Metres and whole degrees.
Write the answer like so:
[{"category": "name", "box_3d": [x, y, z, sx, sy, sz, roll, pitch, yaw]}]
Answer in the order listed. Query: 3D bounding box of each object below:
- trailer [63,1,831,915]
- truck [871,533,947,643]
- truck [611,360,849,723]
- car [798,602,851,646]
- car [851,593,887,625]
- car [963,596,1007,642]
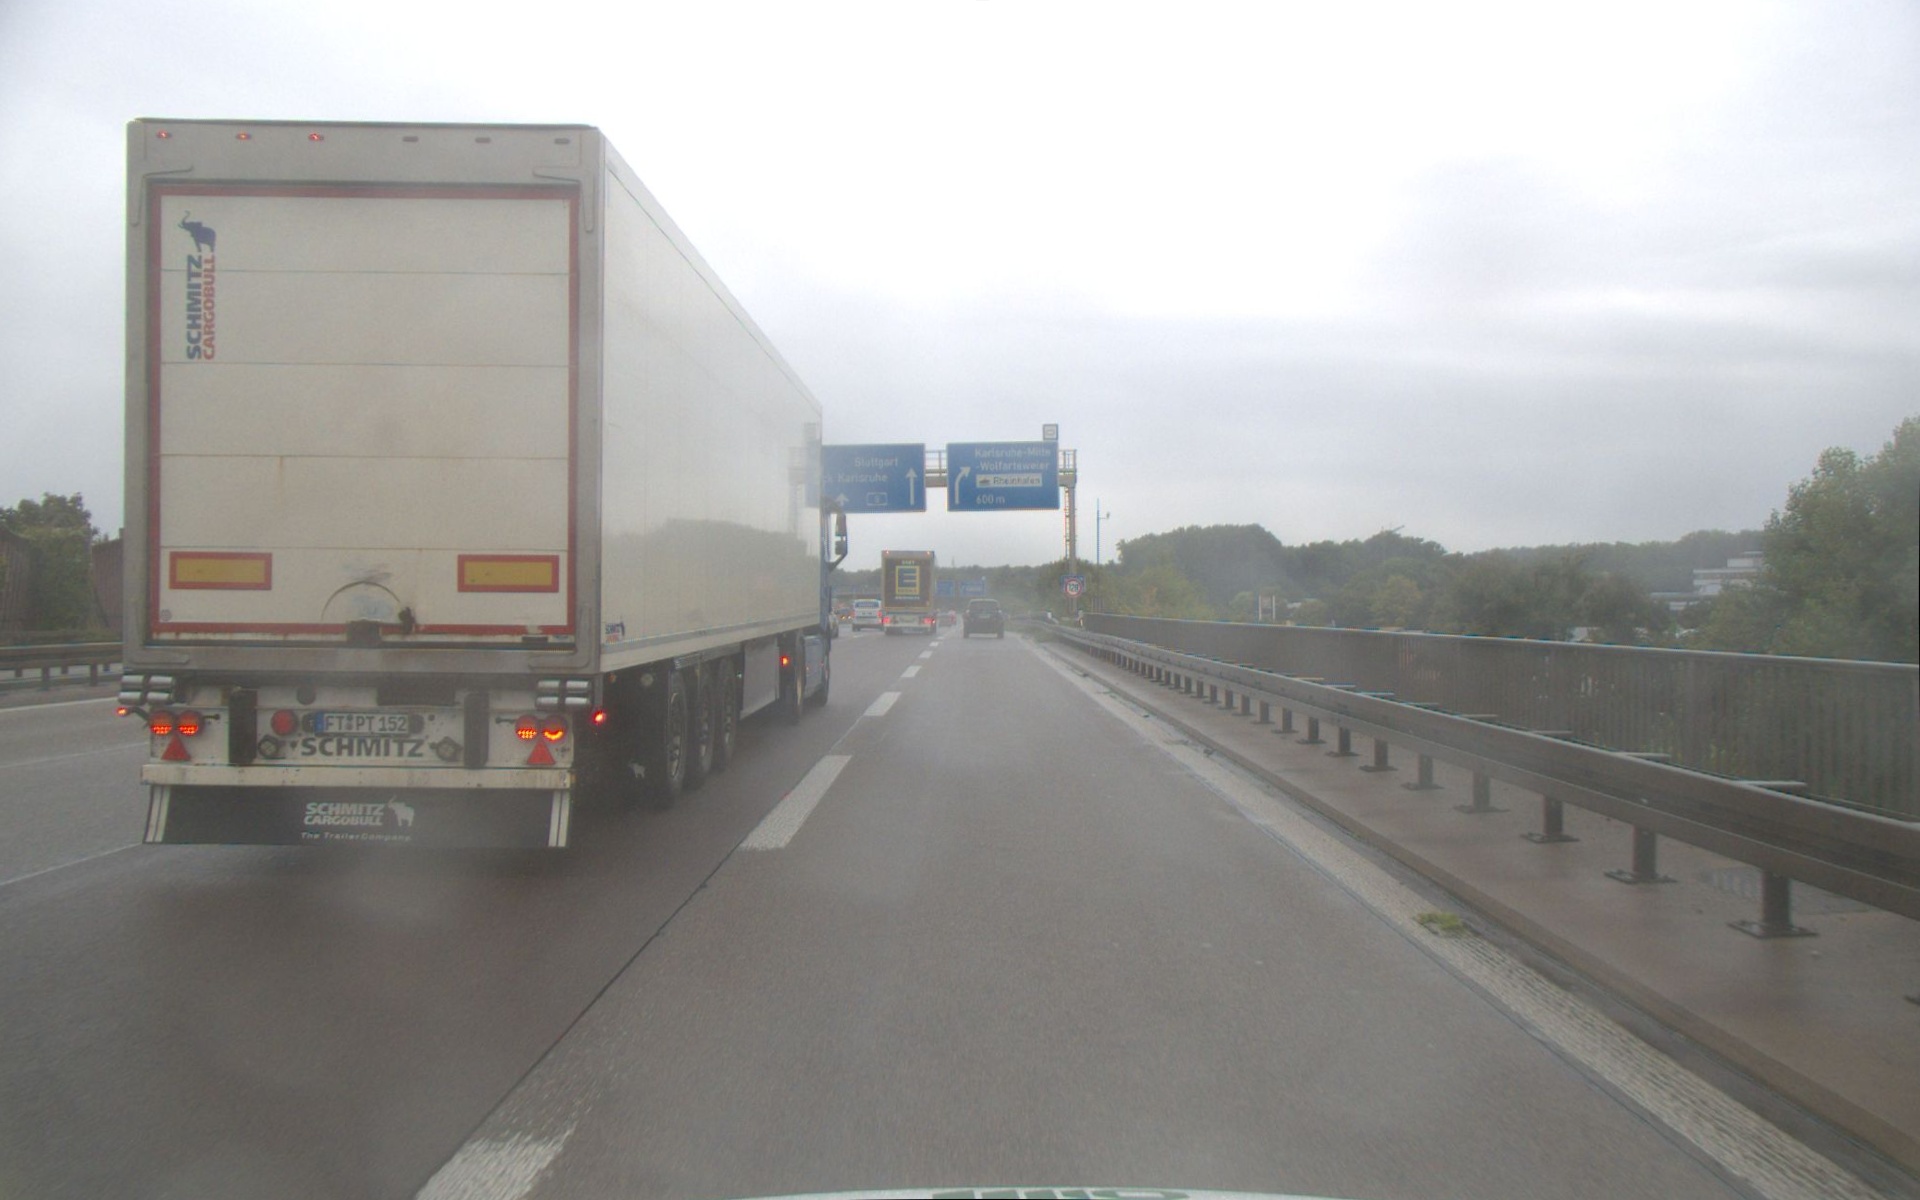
[{"category": "trailer", "box_3d": [-2.952, -0.661, 15.086, 2.294, 4.230, 14.826, 0, 0, 0]}, {"category": "truck", "box_3d": [-2.497, -0.552, 84.746, 3.461, 5.274, 9.892, 1, 0, 0]}, {"category": "truck", "box_3d": [-2.908, -0.689, 22.532, 2.294, 4.230, 6.346, 0, 0, 0]}, {"category": "car", "box_3d": [-5.703, 1.007, 70.051, 1.855, 1.754, 4.000, 1, 0, 0]}, {"category": "car", "box_3d": [-5.680, 0.571, 104.039, 2.007, 1.983, 4.000, 1, 0, 0]}, {"category": "car", "box_3d": [1.143, 0.839, 73.514, 1.858, 1.983, 4.001, 1, 0, 1]}]
